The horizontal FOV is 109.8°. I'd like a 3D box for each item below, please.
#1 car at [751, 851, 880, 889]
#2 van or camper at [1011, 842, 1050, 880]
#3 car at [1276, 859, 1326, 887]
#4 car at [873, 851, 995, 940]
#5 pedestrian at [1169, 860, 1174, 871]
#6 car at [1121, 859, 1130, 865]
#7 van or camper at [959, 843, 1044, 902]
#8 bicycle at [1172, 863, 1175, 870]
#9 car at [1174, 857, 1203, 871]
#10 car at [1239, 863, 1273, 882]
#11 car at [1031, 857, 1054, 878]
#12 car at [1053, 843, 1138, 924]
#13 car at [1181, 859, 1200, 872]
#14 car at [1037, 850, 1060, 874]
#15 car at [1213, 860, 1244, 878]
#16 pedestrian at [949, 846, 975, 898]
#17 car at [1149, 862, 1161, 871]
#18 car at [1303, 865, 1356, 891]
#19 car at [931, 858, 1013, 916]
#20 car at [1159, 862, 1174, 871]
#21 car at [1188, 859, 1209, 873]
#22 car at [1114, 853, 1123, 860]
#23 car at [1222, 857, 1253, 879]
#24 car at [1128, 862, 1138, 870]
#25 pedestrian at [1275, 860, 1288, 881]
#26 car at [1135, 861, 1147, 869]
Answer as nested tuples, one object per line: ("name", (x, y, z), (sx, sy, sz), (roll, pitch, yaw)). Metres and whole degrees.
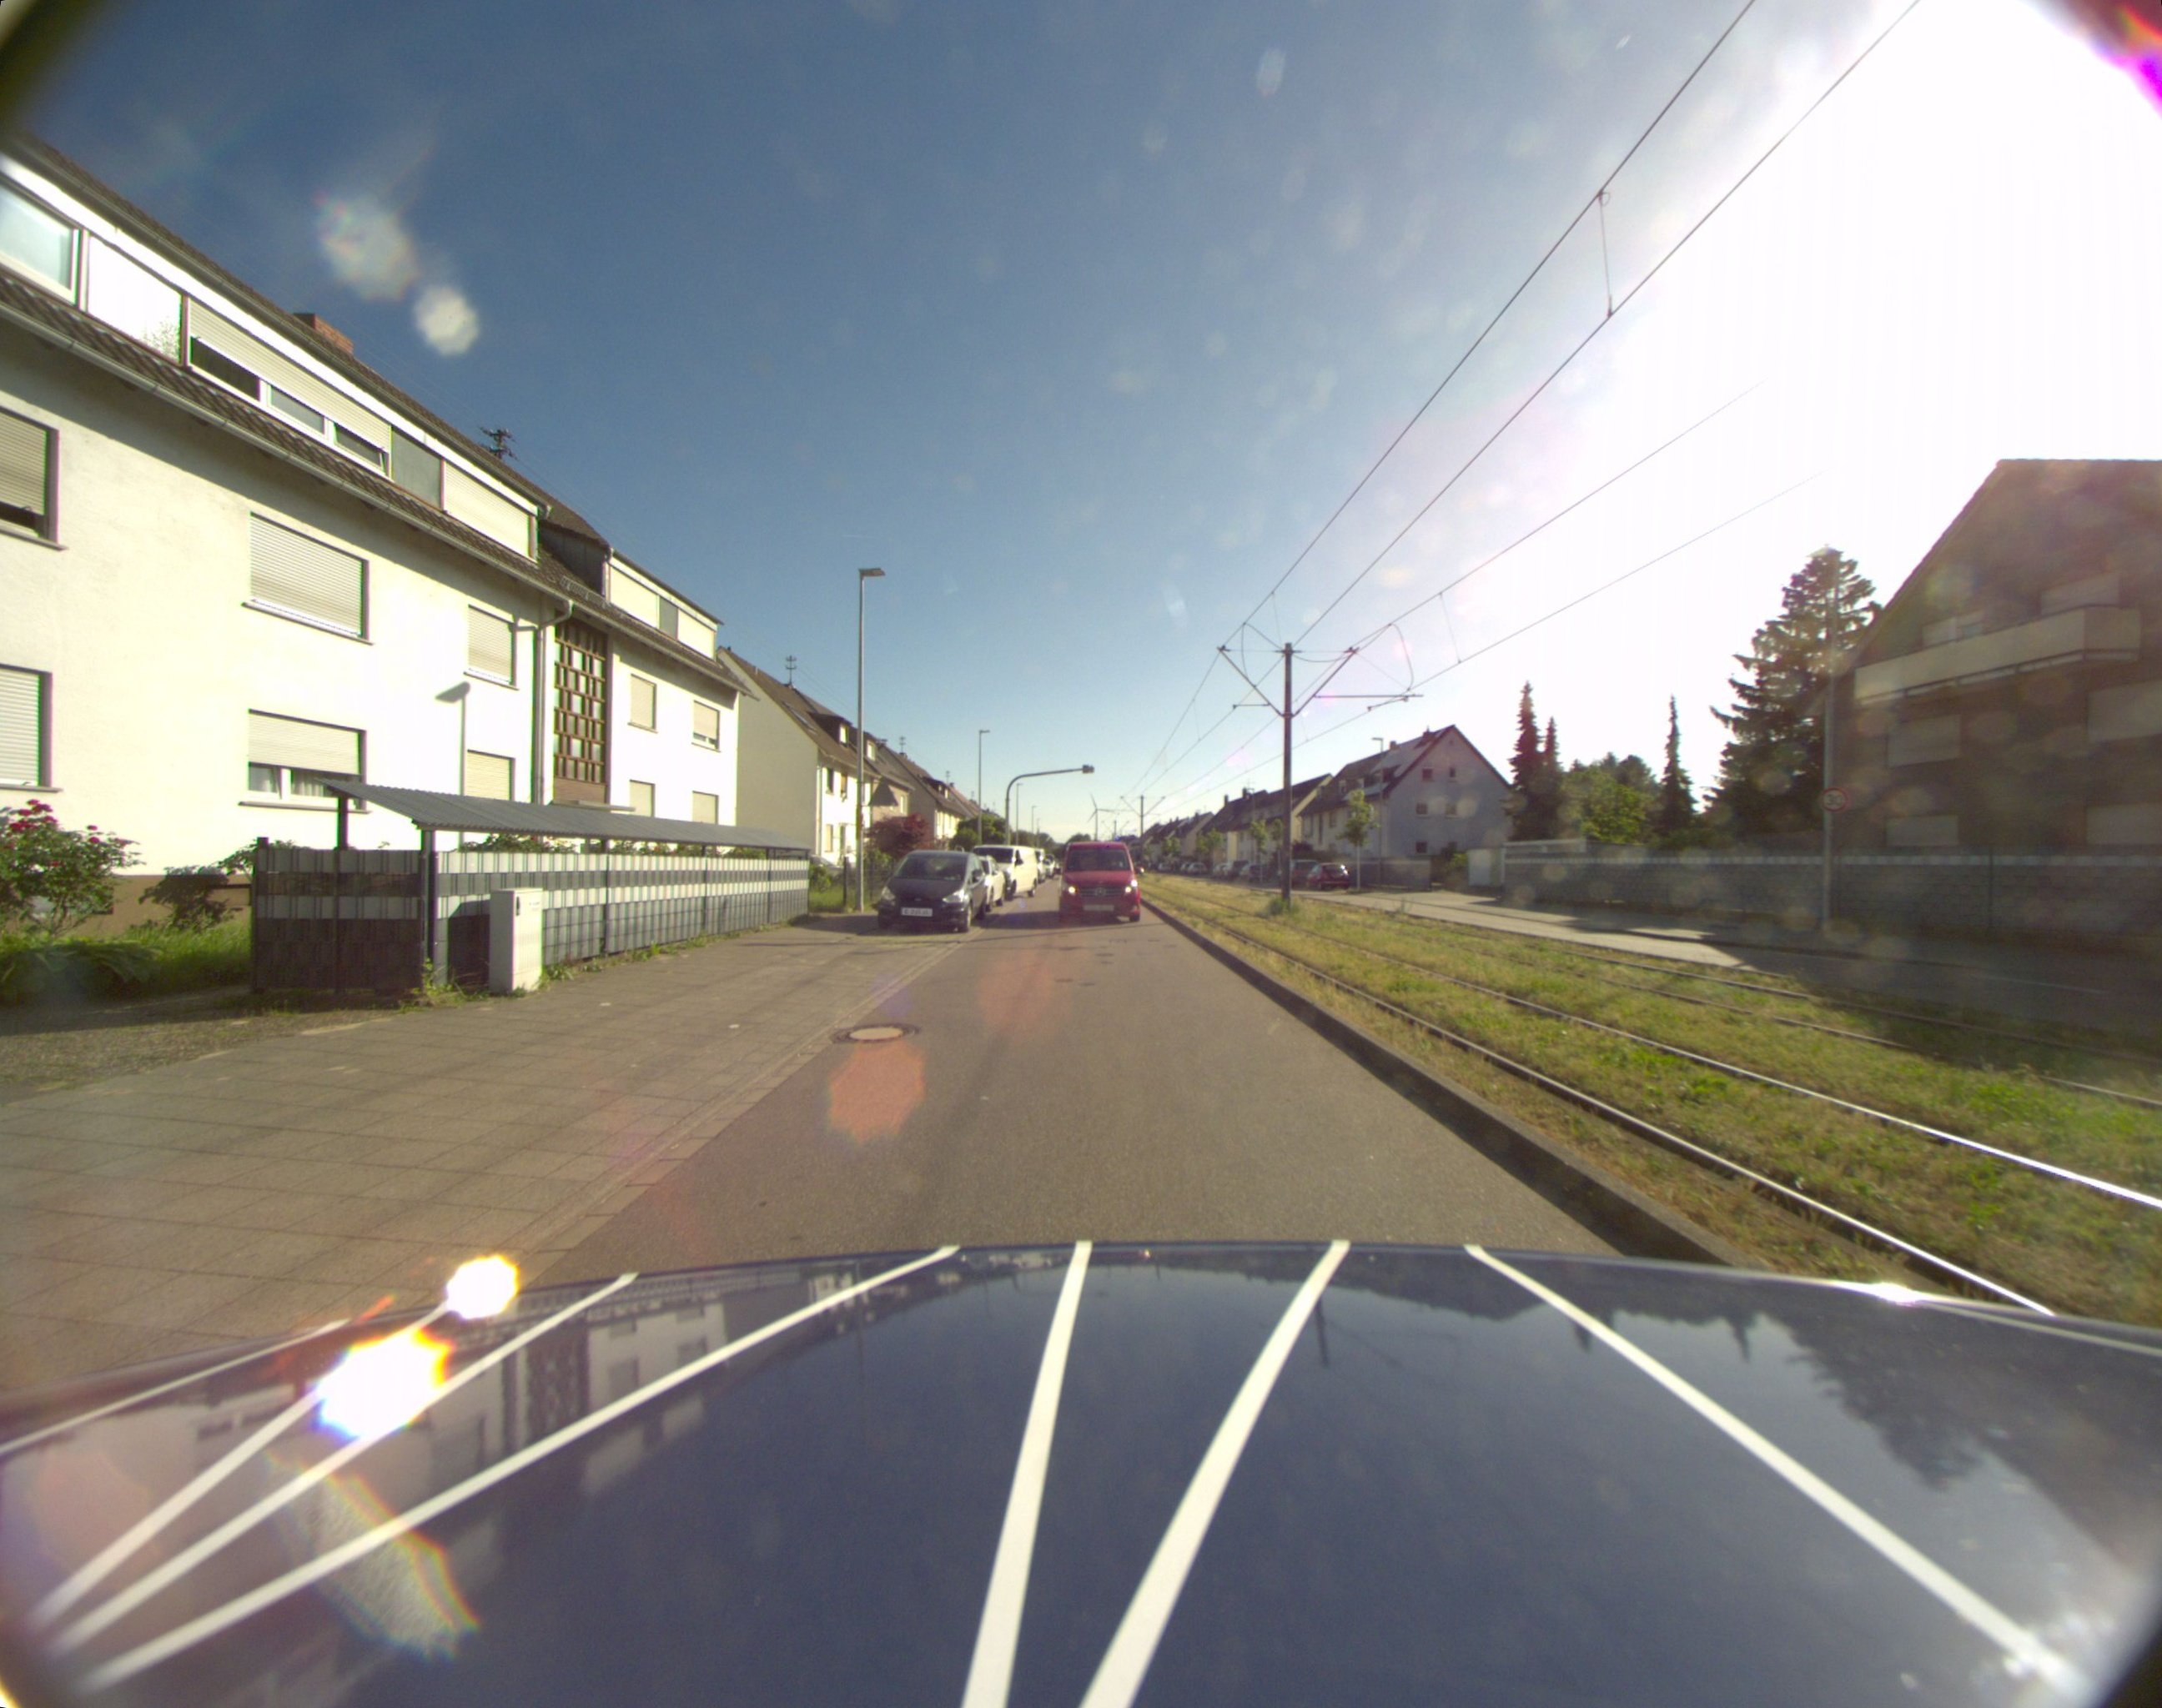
("car", (-10.989, 0.637, 31.722), (4.724, 1.469, 1.906), (1, 1, -2))
("van or camper", (-3.176, 0.413, 49.070), (1.998, 2.257, 6.304), (2, 0, 0))
("car", (13.973, 1.147, 48.546), (1.824, 1.674, 4.846), (-1, 0, 0))
("car", (-3.080, 0.806, 16.972), (1.796, 1.619, 4.860), (3, 0, -1))
("pedestrian", (14.990, 1.885, 125.899), (0.617, 1.804, 0.678), (-1, 1, -10))
("car", (10.442, 1.944, 178.527), (1.705, 1.389, 4.092), (-1, 0, -2))
("van or camper", (-2.838, 0.660, 28.325), (2.032, 1.945, 5.298), (1, 0, 6))
("bicycle", (15.308, 2.046, 125.869), (0.478, 1.156, 1.872), (-1, 0, 4))
("car", (18.051, 1.711, 127.771), (4.472, 2.068, 1.787), (-3, 0, -1))
("car", (14.108, 1.474, 61.504), (1.681, 1.482, 4.049), (-1, 0, -2))
("car", (-3.293, 1.115, 65.222), (1.730, 1.636, 4.318), (2, 0, 0))
("car", (0.256, 0.697, 20.544), (1.999, 1.889, 5.389), (0, 0, -2))
("car", (13.808, 1.429, 95.971), (1.693, 1.464, 4.314), (-1, 0, -2))
("car", (-3.001, 0.706, 71.330), (1.965, 2.131, 5.335), (2, 0, 0))
("car", (14.082, 1.407, 72.797), (1.965, 1.531, 4.556), (-1, 0, 0))
("pedestrian", (-4.342, 0.650, 27.738), (0.700, 1.901, 0.759), (-1, 1, 8))
("car", (12.801, 2.112, 131.931), (1.623, 1.503, 4.085), (-1, 0, 0))
("car", (13.999, 1.322, 43.031), (1.699, 1.396, 4.079), (1, 0, 0))
("car", (-3.109, 0.901, 22.404), (1.660, 1.484, 4.160), (1, 0, 2))
("car", (13.358, 1.942, 119.181), (1.662, 1.427, 4.102), (0, 0, -2))
("car", (13.910, 1.411, 90.007), (1.693, 1.467, 4.442), (-1, 0, -2))
("car", (9.658, 0.642, 195.899), (1.832, 1.522, 4.092), (-1, 0, -2))
("car", (13.815, 1.220, 67.443), (1.749, 1.812, 4.841), (-1, 0, 0))
("car", (11.249, 2.573, 164.045), (1.658, 1.447, 4.400), (-1, 0, -2))
("pedestrian", (15.964, 1.334, 60.517), (0.697, 1.630, 0.919), (-1, 0, -2))
("car", (12.060, 2.223, 153.436), (1.926, 1.551, 4.857), (-1, 0, -3))
